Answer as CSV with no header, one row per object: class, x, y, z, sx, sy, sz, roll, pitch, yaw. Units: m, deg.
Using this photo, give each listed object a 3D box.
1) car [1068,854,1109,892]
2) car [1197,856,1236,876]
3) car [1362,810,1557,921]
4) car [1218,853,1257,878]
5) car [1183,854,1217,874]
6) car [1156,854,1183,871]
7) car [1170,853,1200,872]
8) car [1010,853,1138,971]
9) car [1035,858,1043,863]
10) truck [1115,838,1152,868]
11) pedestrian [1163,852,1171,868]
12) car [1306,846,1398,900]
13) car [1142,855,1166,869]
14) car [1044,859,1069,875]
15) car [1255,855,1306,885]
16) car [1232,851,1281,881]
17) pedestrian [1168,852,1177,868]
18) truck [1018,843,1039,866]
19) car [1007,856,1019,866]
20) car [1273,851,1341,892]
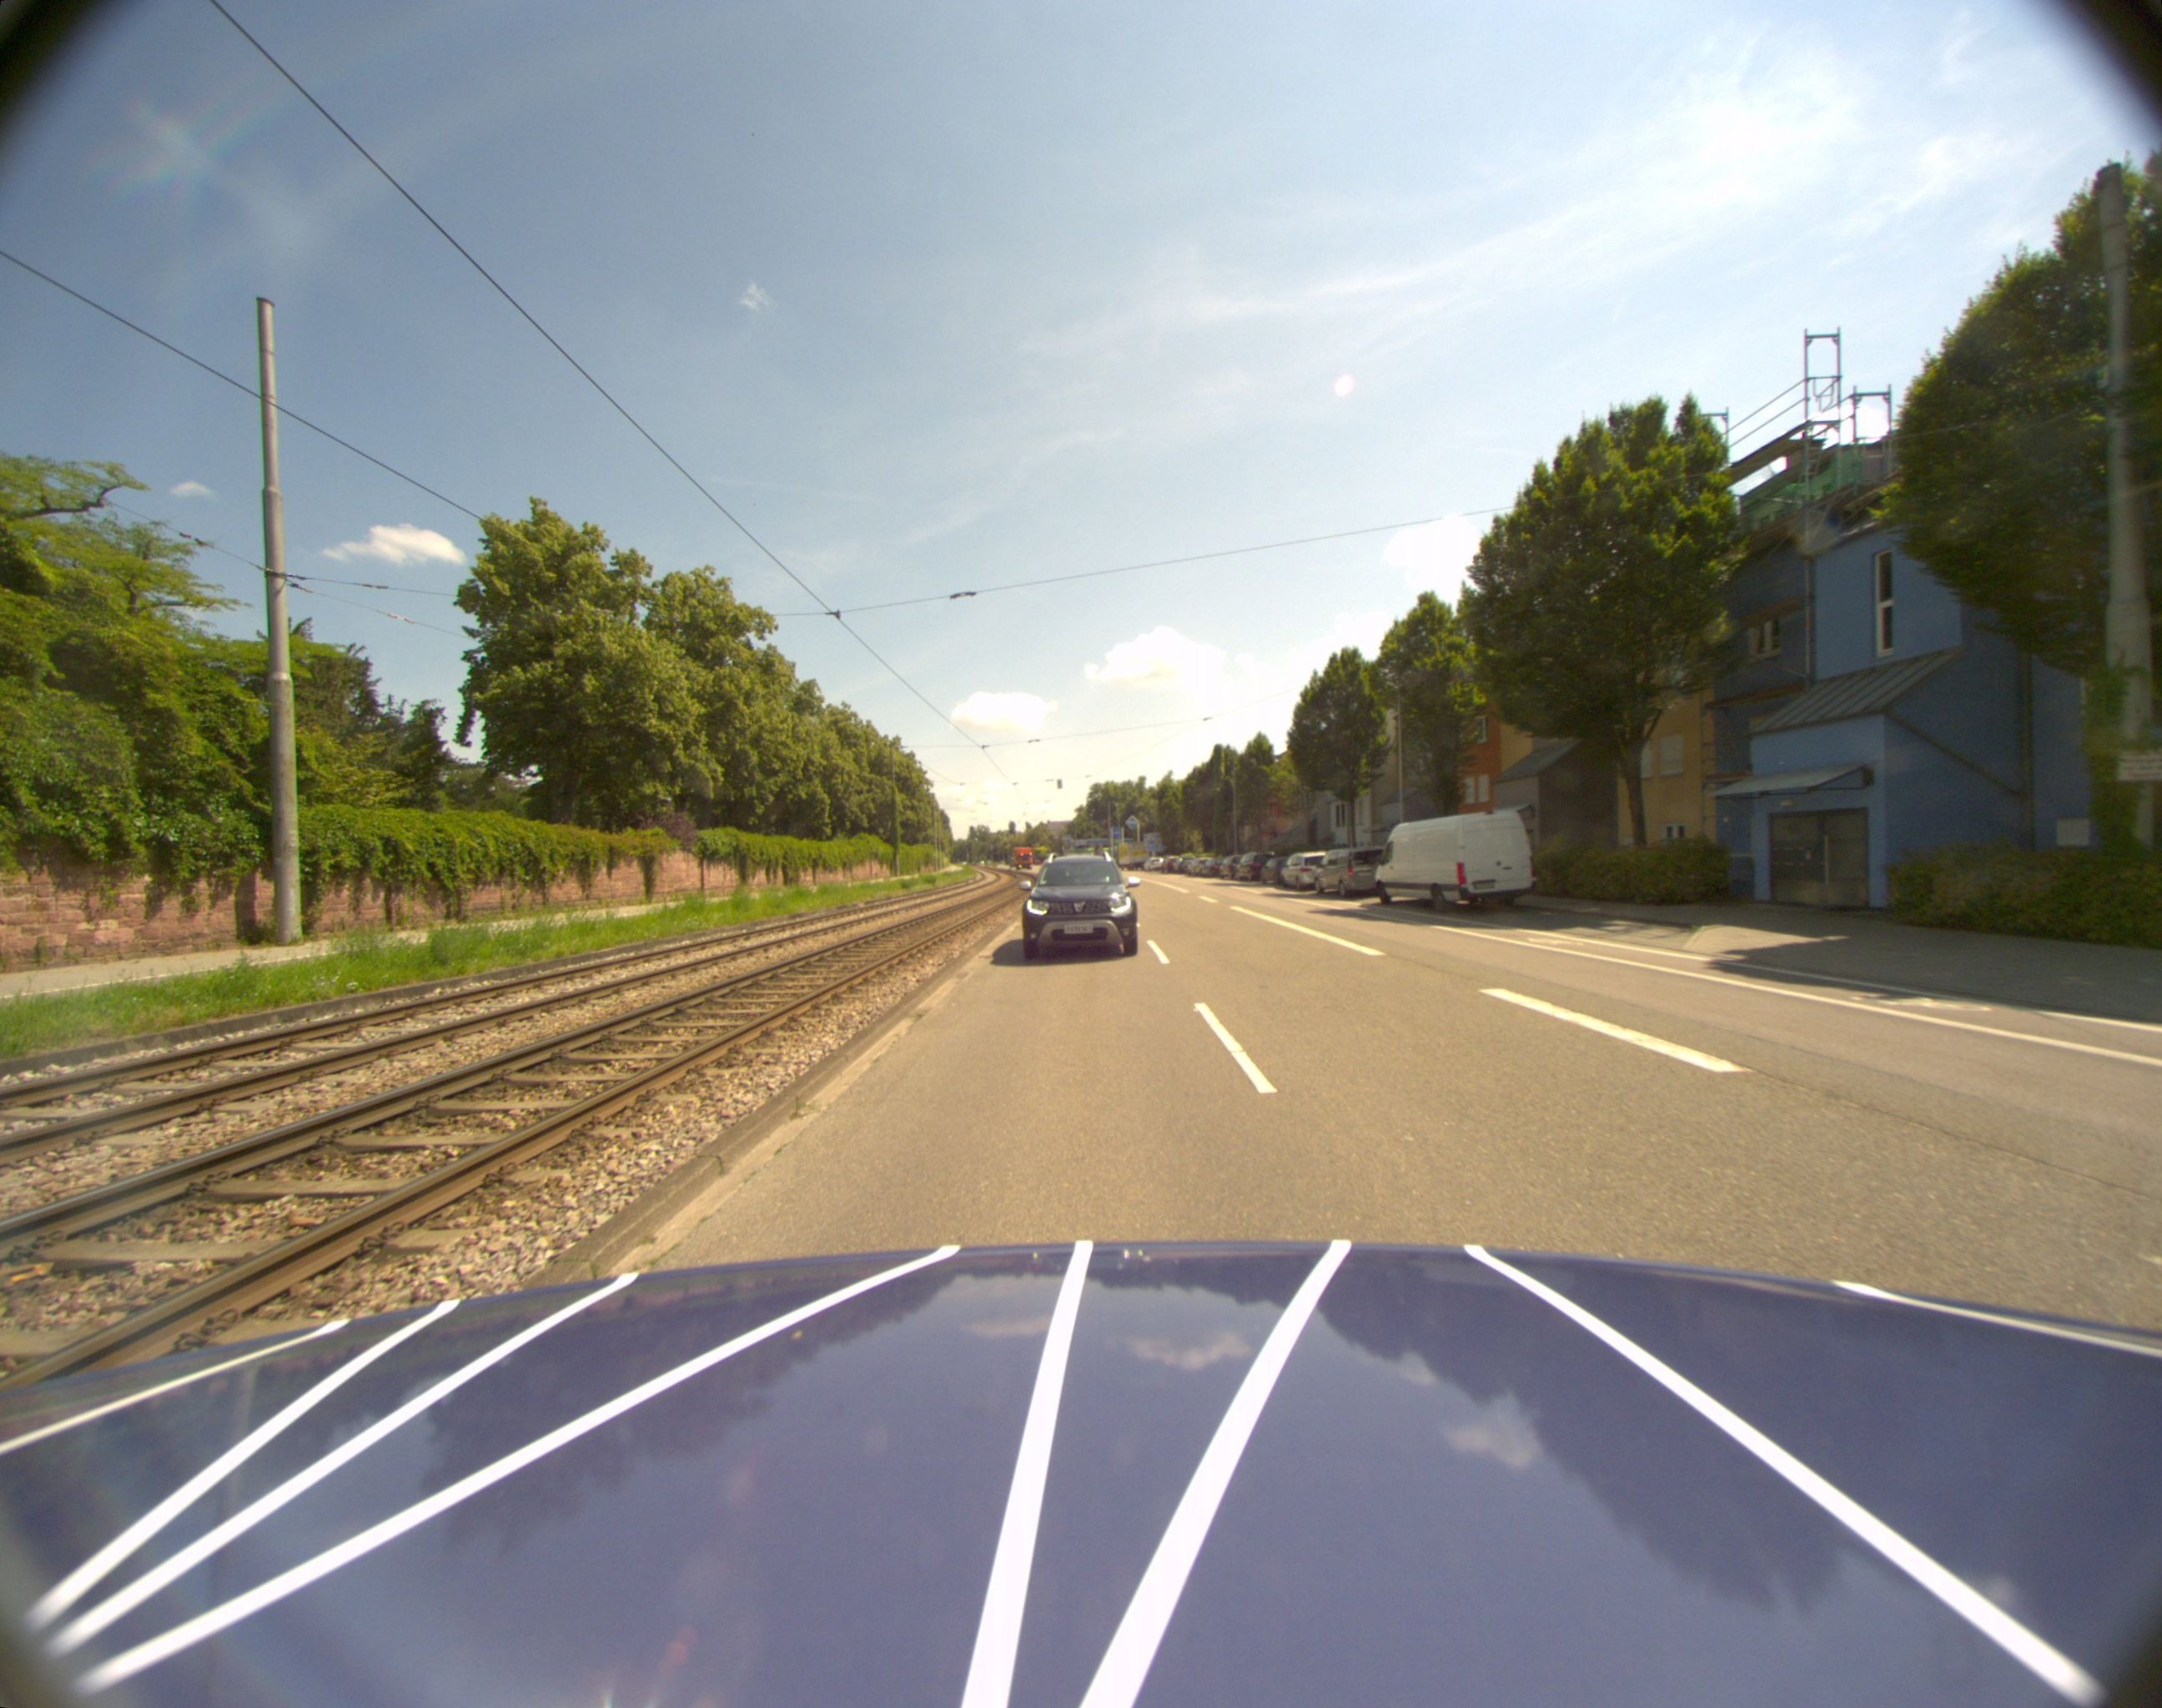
car,0.293,0.883,36.747,1.802,1.683,4.144,-1,0,-2
car,10.415,0.903,58.720,1.746,1.438,4.962,-3,0,-4
car,10.995,0.304,22.962,2.329,2.635,7.035,-5,0,2
car,10.760,0.793,52.618,1.660,1.608,4.284,-1,1,-2
car,10.136,0.828,64.916,1.660,1.499,4.893,-4,1,-5
car,8.802,0.823,75.922,1.661,1.600,4.171,-2,0,-8
car,9.534,0.782,70.188,1.660,1.600,4.685,-4,0,-5
car,0.046,0.864,13.584,1.801,1.652,4.789,-3,0,4
car,-11.847,1.948,213.901,2.000,1.379,3.998,-1,0,-7
truck,6.546,-0.064,96.307,2.840,3.527,8.165,-4,0,-8
pedestrian,9.886,0.678,87.593,0.642,1.911,0.710,-1,0,35
car,10.955,0.715,31.159,1.811,1.884,5.362,-4,0,1
car,8.101,0.890,84.385,1.661,1.402,4.394,-1,0,-8
car,-2.298,1.190,69.459,1.999,1.346,3.998,1,0,-5
car,10.974,0.867,42.051,1.603,1.462,4.086,-1,1,-2
car,10.839,0.717,47.330,1.755,1.706,4.887,-1,0,-2
pedestrian,10.432,0.680,86.870,0.685,1.784,0.702,-1,0,-34
truck,-8.660,0.144,125.194,2.847,3.574,8.700,-2,0,-7
car,-13.793,1.373,154.415,2.000,2.002,3.997,-2,1,-8
car,10.817,0.794,36.743,1.721,1.742,4.903,-2,0,0
